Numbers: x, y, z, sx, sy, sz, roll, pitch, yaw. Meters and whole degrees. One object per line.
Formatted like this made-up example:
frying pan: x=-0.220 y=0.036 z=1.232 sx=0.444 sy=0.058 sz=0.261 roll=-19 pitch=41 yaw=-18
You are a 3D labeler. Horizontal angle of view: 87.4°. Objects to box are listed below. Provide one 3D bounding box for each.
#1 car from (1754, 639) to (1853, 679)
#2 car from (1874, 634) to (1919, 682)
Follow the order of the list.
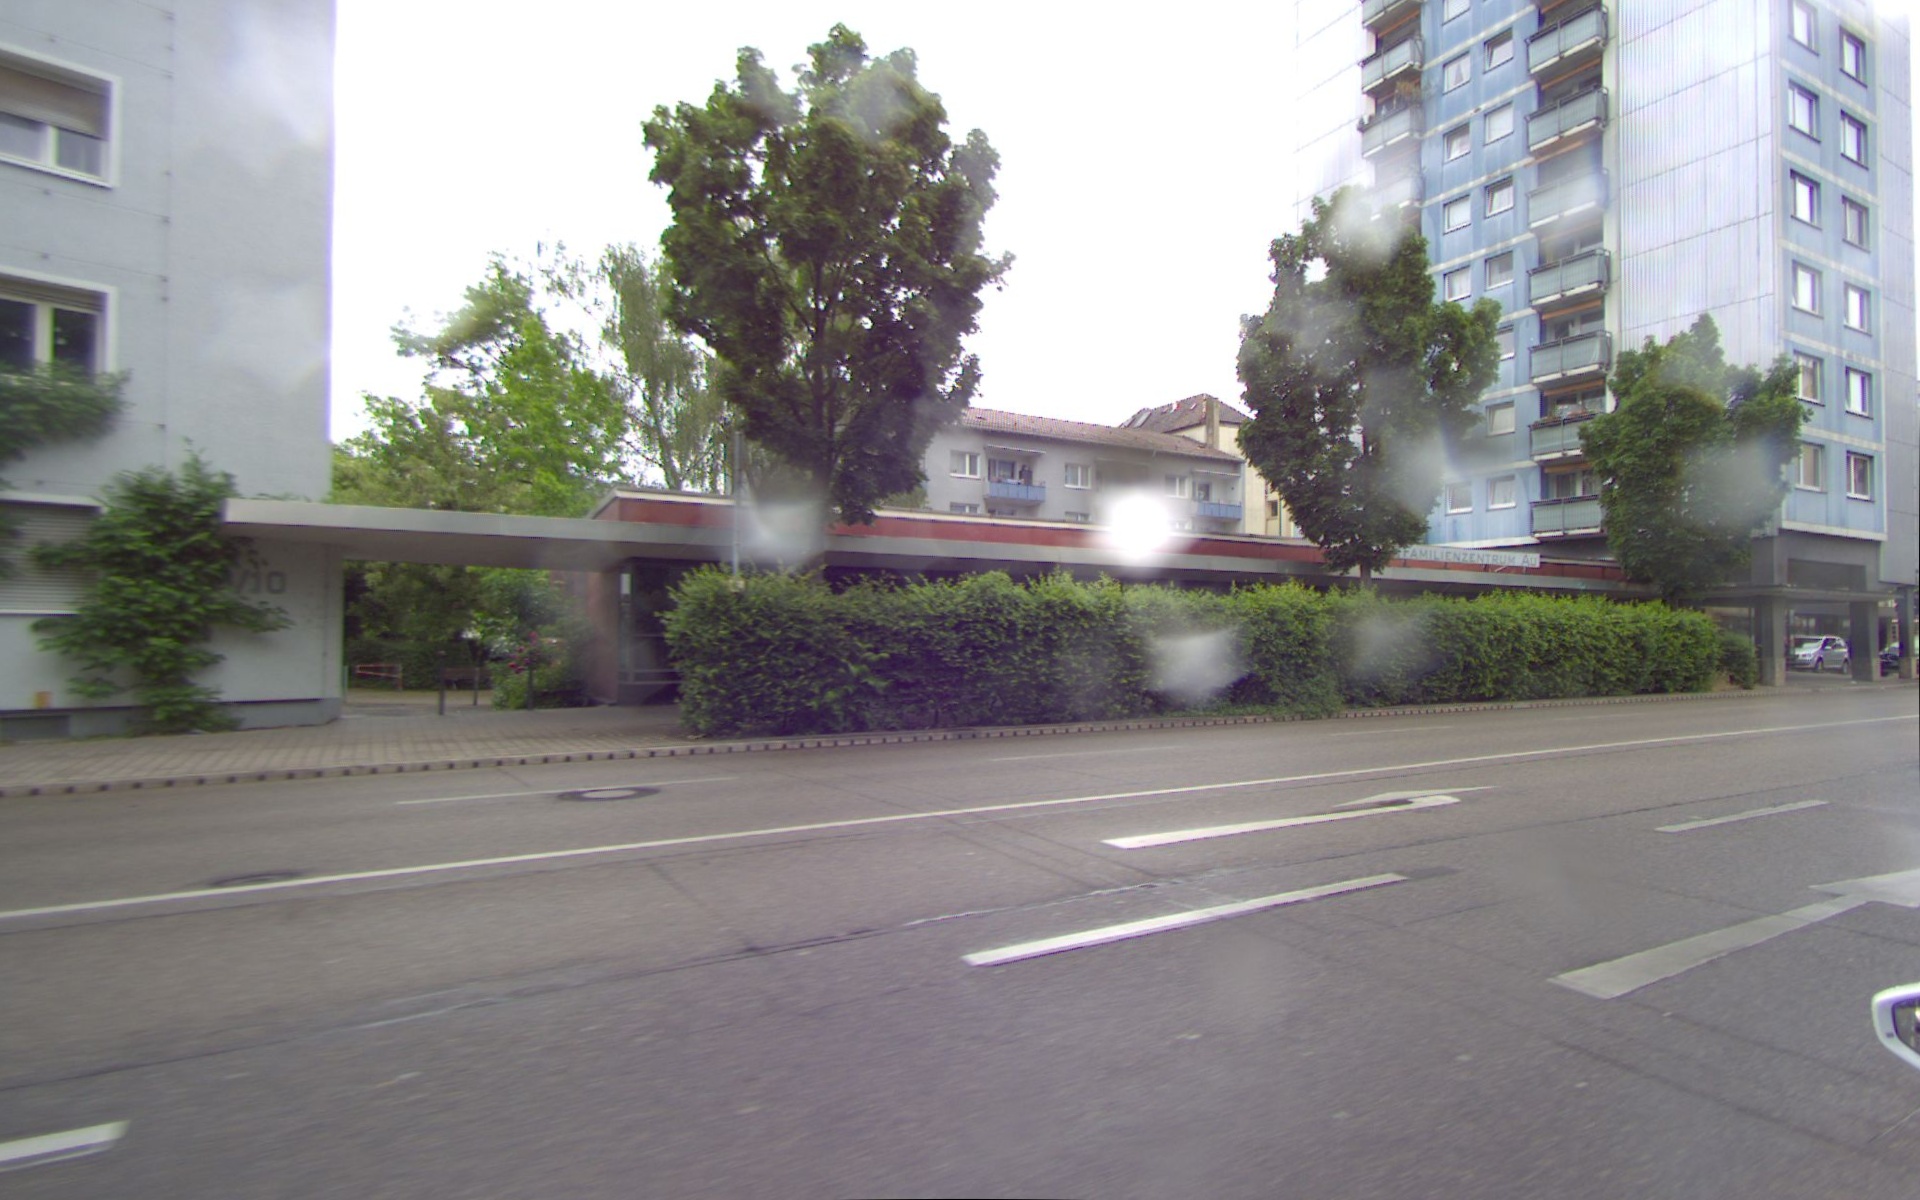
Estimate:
car: x=37.034 y=2.579 z=44.069 sx=4.459 sy=1.676 sz=1.984 roll=2 pitch=-2 yaw=-31
car: x=36.573 y=2.186 z=38.170 sx=4.236 sy=1.728 sz=1.532 roll=2 pitch=-2 yaw=-30
